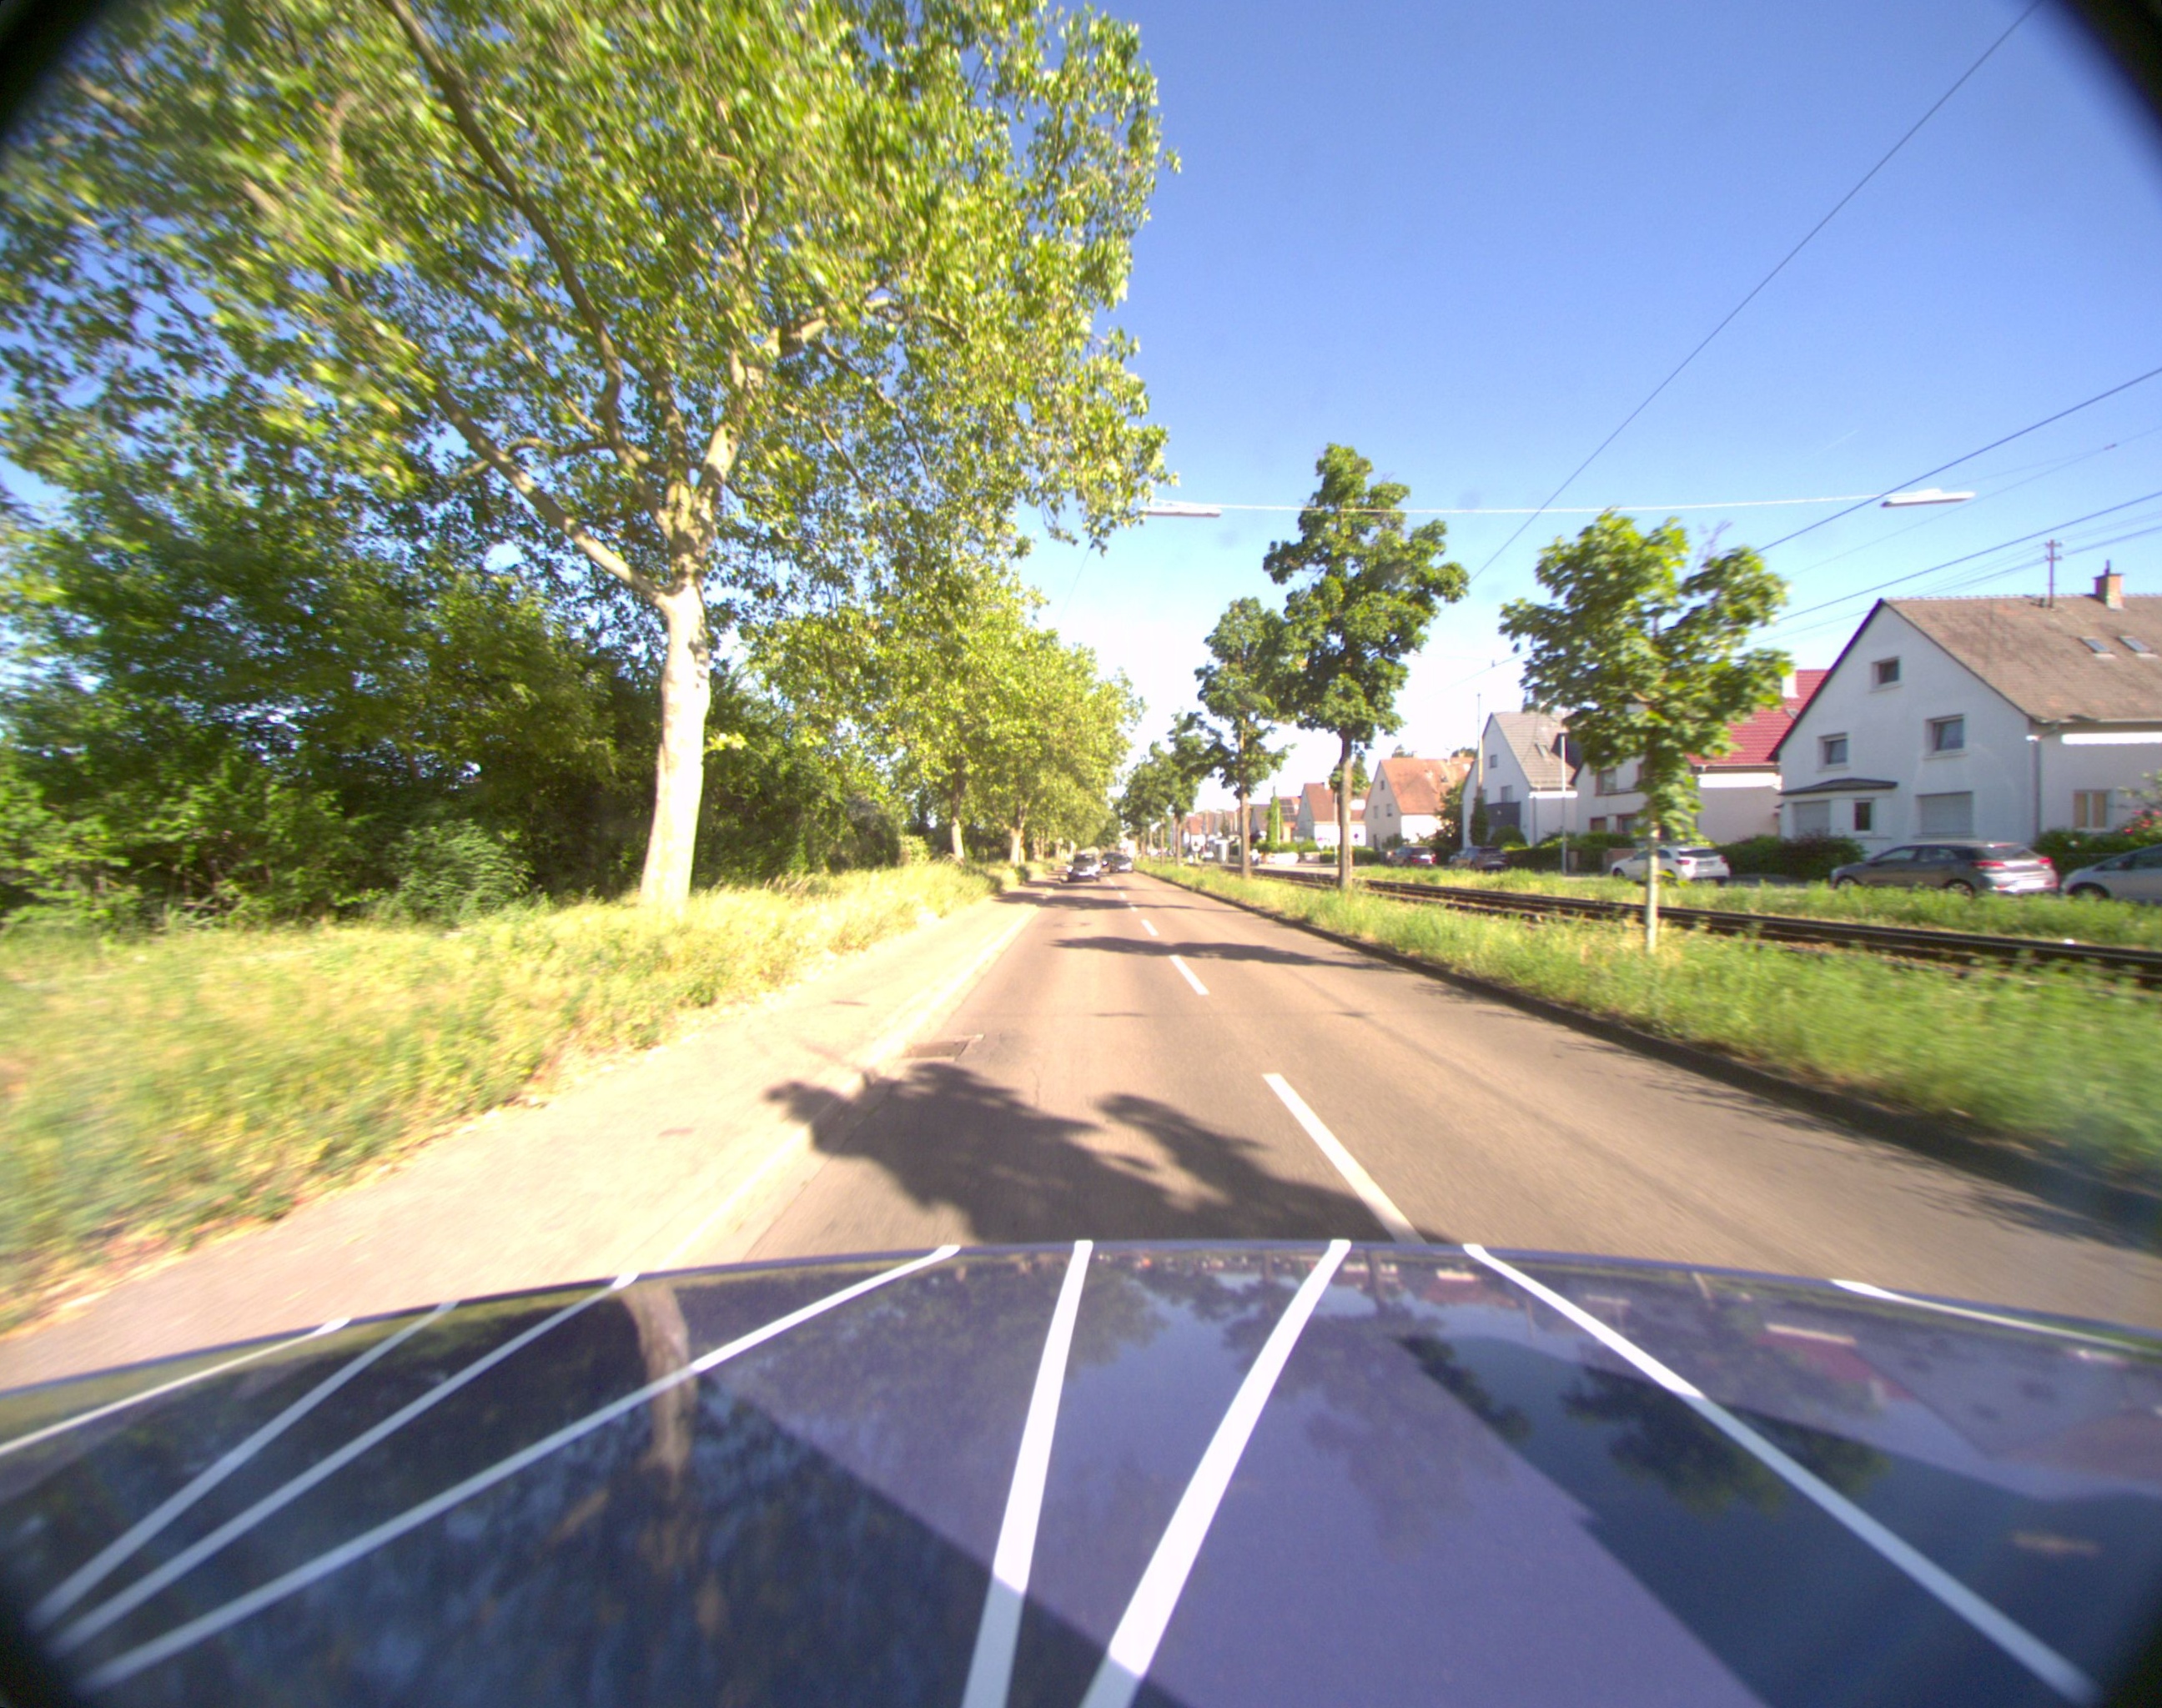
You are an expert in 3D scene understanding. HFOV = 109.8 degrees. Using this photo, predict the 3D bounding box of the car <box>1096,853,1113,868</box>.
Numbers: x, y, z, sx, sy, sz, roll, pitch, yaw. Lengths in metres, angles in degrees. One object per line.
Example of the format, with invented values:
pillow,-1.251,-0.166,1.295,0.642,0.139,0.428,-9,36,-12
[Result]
car,2.547,0.719,82.065,1.692,1.499,3.582,-2,1,1

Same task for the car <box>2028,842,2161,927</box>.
car,21.467,0.576,14.424,1.951,1.544,4.056,-2,1,1

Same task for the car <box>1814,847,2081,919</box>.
car,21.486,0.632,19.155,1.998,1.441,4.127,-5,1,1

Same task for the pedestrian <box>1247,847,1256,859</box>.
pedestrian,22.021,-0.111,97.906,0.814,1.525,0.793,-1,-1,-13

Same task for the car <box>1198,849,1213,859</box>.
car,23.043,-0.050,140.470,1.998,1.668,4.839,-2,1,1

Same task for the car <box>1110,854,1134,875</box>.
car,3.143,0.784,58.861,1.692,1.499,3.582,-2,1,1

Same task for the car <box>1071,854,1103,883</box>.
car,0.343,0.782,42.598,1.692,1.499,3.582,-1,1,1

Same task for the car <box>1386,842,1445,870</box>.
car,22.246,0.093,50.739,1.998,1.703,4.390,-2,1,1

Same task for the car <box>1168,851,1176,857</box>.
car,23.528,-0.088,196.292,1.756,1.373,3.823,-2,1,1

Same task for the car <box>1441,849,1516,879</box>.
car,21.896,0.509,42.101,1.931,1.486,4.255,-2,1,1

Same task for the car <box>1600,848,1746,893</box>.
car,21.768,0.544,28.206,1.998,1.418,4.410,-2,1,1

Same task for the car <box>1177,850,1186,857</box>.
car,23.731,-0.096,179.493,1.738,1.481,3.755,-2,1,1
